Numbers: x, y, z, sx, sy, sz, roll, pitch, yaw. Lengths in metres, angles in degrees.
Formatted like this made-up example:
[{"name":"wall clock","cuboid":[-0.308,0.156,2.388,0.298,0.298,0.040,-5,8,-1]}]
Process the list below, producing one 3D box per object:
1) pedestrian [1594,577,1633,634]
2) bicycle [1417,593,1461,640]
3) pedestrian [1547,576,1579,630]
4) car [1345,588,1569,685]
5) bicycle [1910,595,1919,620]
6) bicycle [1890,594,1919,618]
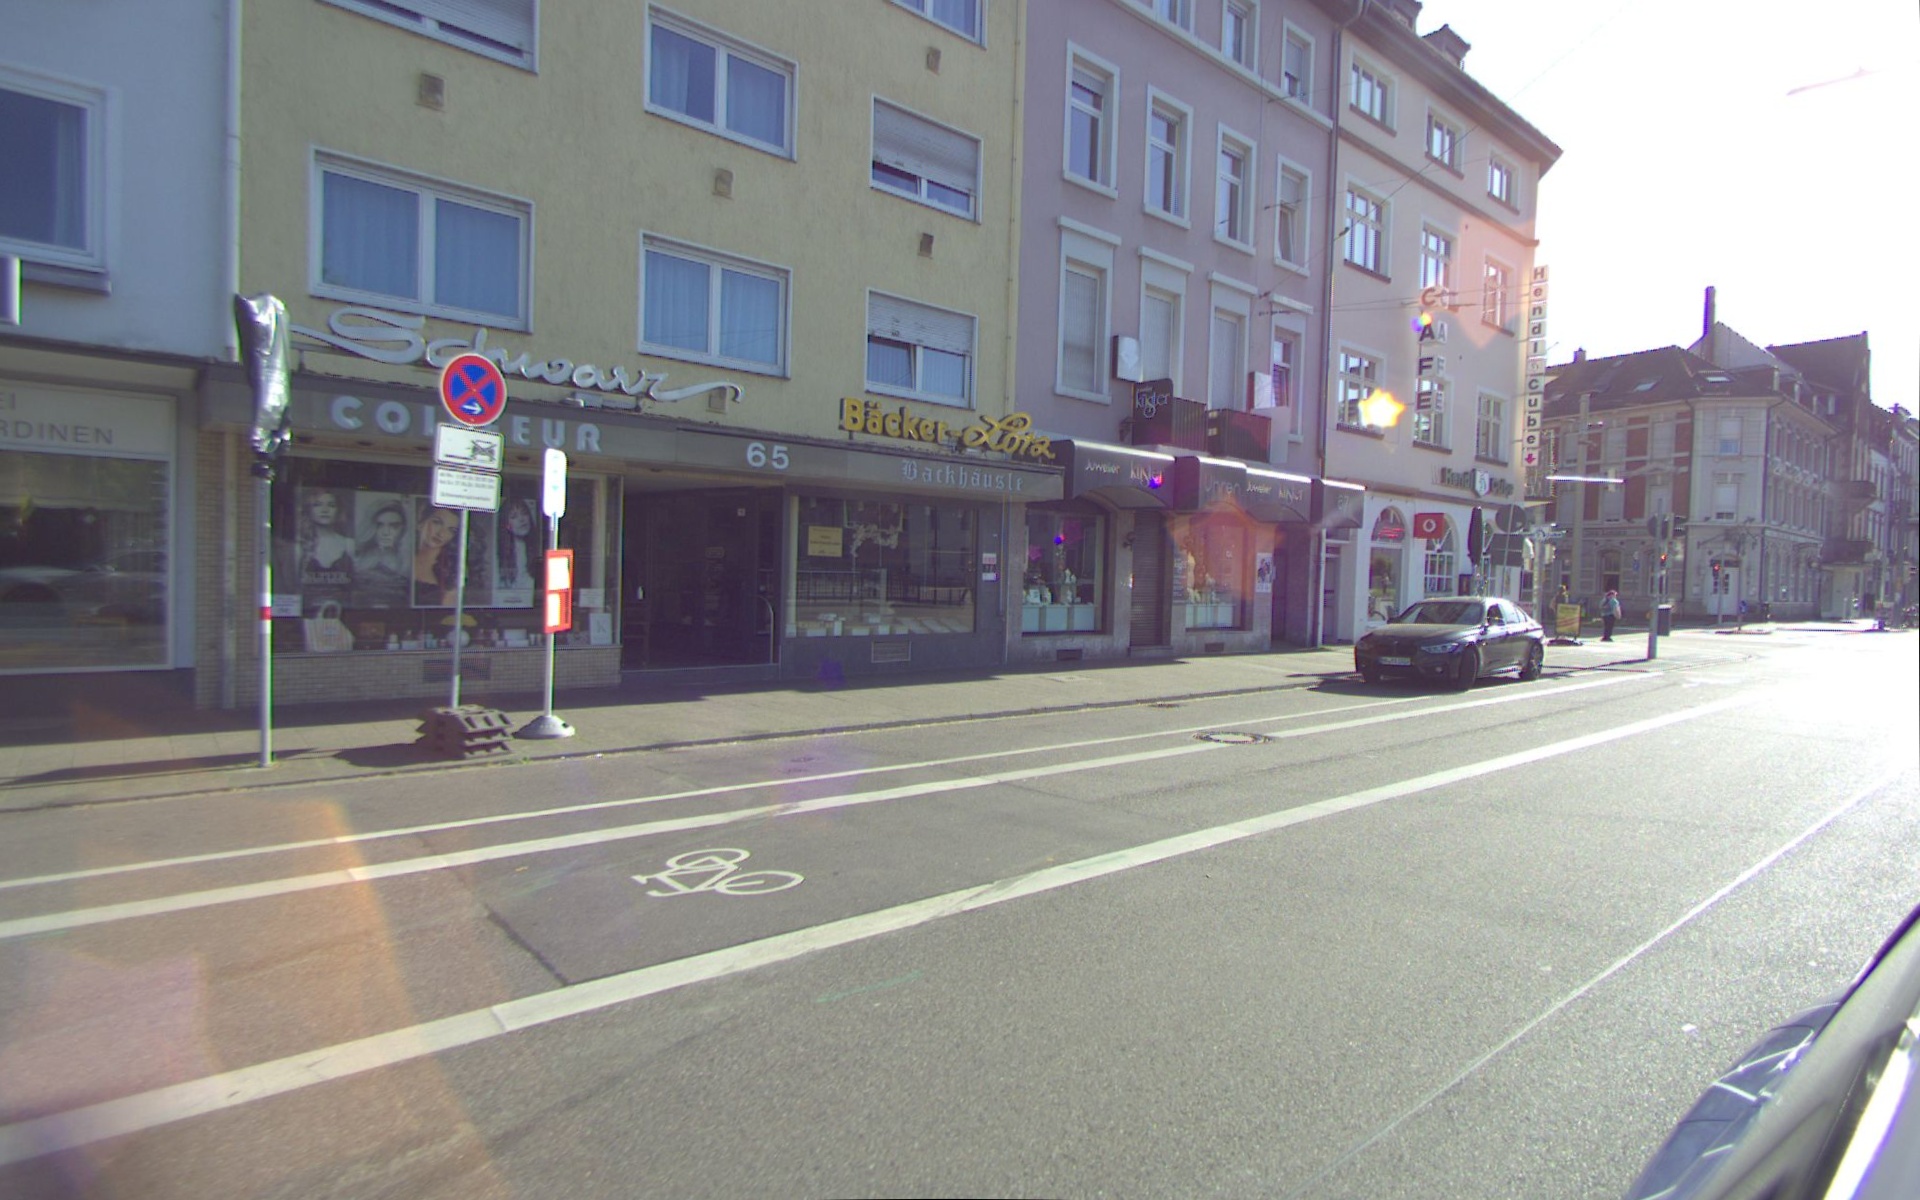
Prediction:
[{"name":"pedestrian","cuboid":[20.294,0.160,31.431,0.786,1.712,0.775,3,-1,-41]},{"name":"bicycle","cuboid":[12.063,0.393,25.464,0.693,1.122,1.842,2,2,35]},{"name":"pedestrian","cuboid":[19.485,0.086,32.696,0.665,1.711,0.663,0,2,-41]},{"name":"car","cuboid":[8.642,0.517,17.417,4.636,1.447,1.902,0,1,-42]},{"name":"bicycle","cuboid":[49.282,0.397,51.659,2.255,1.230,0.694,0,2,-36]},{"name":"bicycle","cuboid":[49.383,0.291,52.872,2.255,1.230,0.694,0,2,-36]}]
